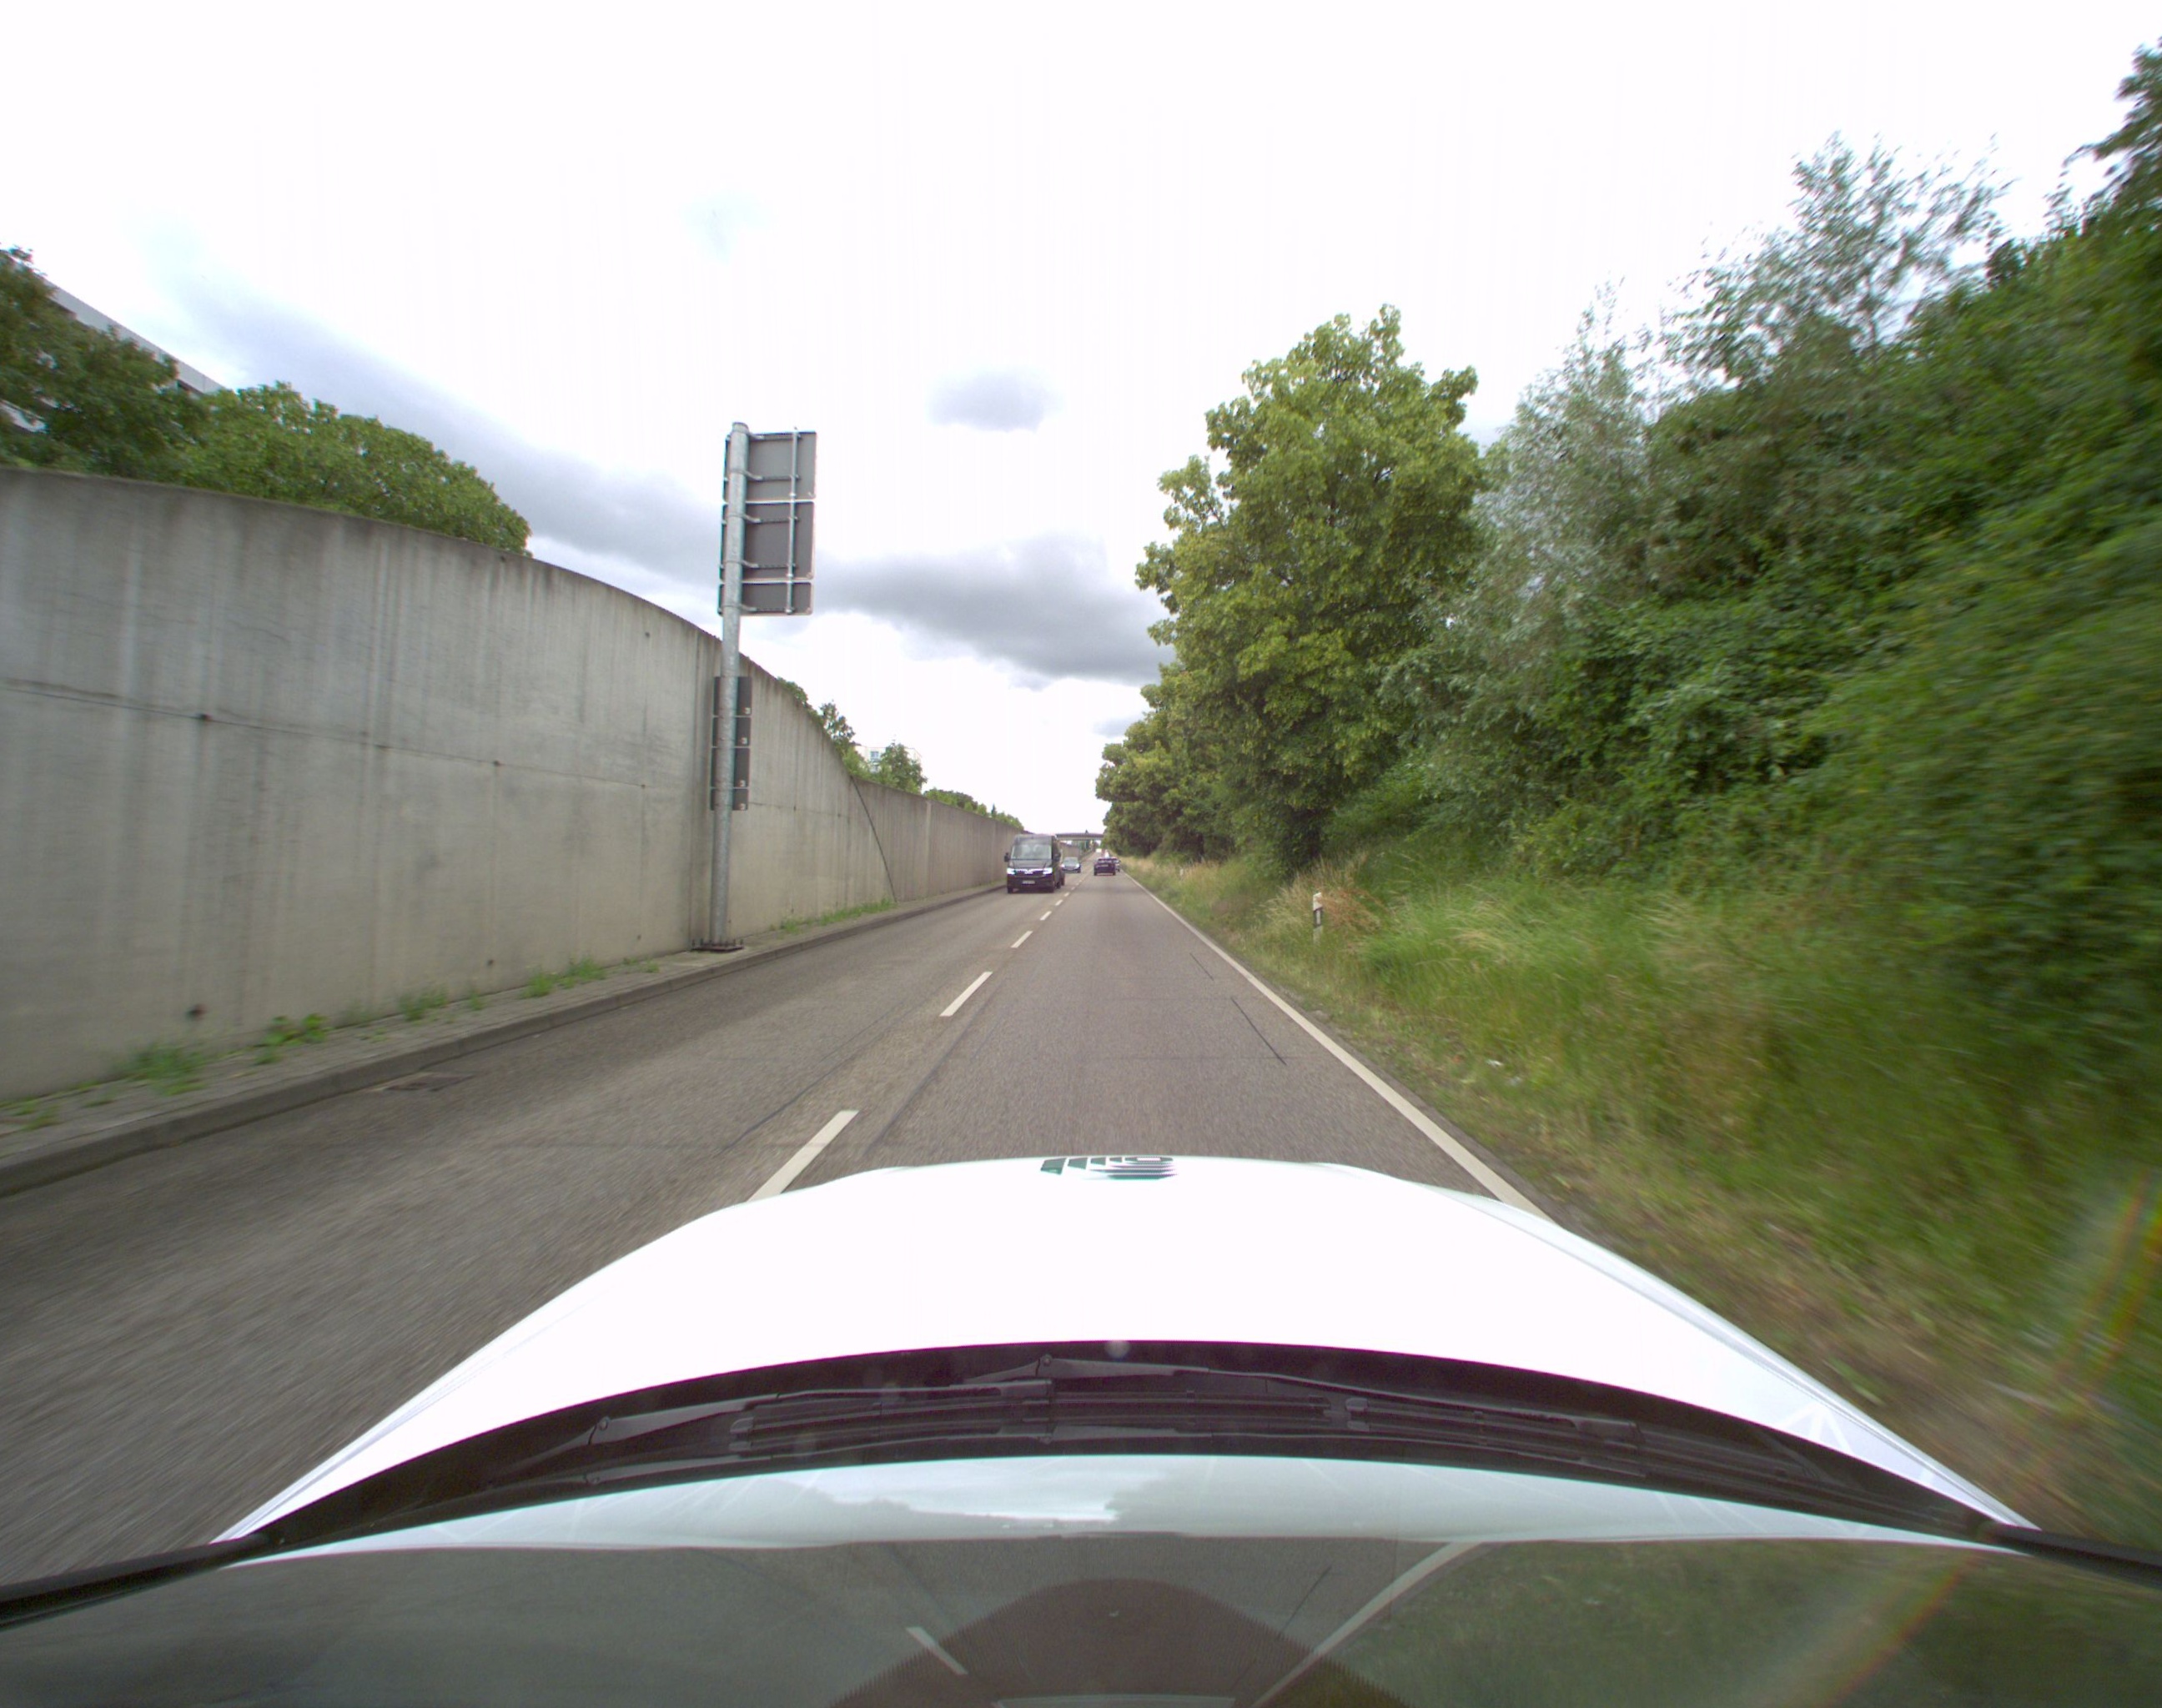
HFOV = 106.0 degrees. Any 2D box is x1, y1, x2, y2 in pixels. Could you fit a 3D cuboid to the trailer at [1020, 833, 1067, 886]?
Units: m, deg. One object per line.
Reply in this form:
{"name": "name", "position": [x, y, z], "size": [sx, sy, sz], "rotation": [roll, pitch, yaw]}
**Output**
{"name": "trailer", "position": [-1.946, 0.289, 43.232], "size": [2.102, 2.630, 4.373], "rotation": [-1, 0, 2]}

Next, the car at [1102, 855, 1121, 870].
{"name": "car", "position": [3.108, 0.838, 82.860], "size": [1.747, 1.523, 4.040], "rotation": [-1, 0, 3]}

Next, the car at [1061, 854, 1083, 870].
{"name": "car", "position": [-0.874, 0.749, 78.536], "size": [1.885, 1.483, 4.825], "rotation": [-1, 0, 2]}

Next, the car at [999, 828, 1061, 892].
{"name": "car", "position": [-2.184, 0.269, 37.303], "size": [2.102, 2.630, 7.420], "rotation": [-1, 0, 2]}

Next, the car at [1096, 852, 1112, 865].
{"name": "car", "position": [2.862, 0.563, 103.374], "size": [1.861, 1.490, 4.256], "rotation": [3, 0, 0]}

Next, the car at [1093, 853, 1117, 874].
{"name": "car", "position": [1.906, 0.792, 66.472], "size": [1.749, 1.523, 4.035], "rotation": [-2, -1, 0]}
